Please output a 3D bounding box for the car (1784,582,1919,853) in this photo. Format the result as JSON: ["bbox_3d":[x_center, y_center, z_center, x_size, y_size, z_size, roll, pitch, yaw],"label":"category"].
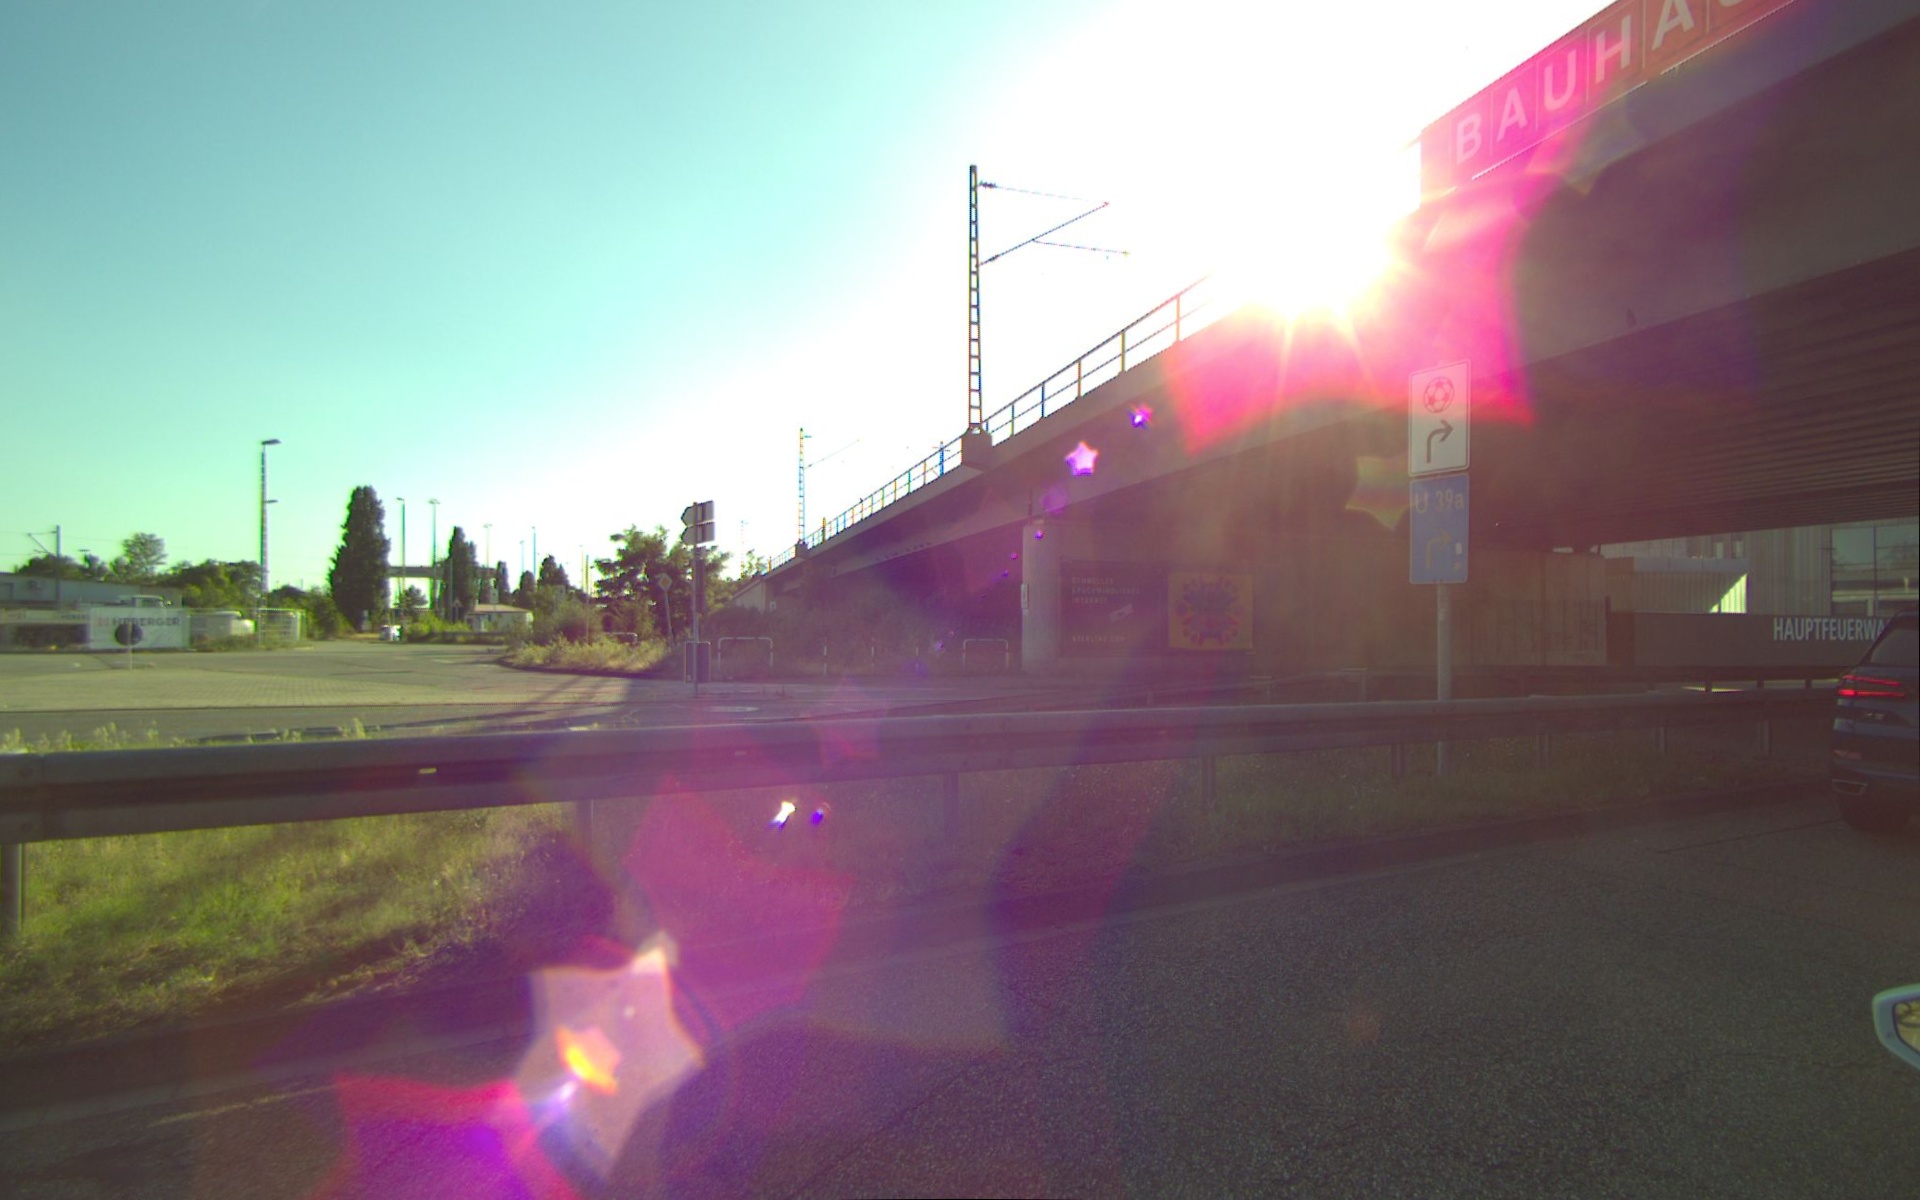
[{"bbox_3d":[8.336,0.830,7.332,4.475,1.757,1.986,2,0,-28],"label":"car"}]
